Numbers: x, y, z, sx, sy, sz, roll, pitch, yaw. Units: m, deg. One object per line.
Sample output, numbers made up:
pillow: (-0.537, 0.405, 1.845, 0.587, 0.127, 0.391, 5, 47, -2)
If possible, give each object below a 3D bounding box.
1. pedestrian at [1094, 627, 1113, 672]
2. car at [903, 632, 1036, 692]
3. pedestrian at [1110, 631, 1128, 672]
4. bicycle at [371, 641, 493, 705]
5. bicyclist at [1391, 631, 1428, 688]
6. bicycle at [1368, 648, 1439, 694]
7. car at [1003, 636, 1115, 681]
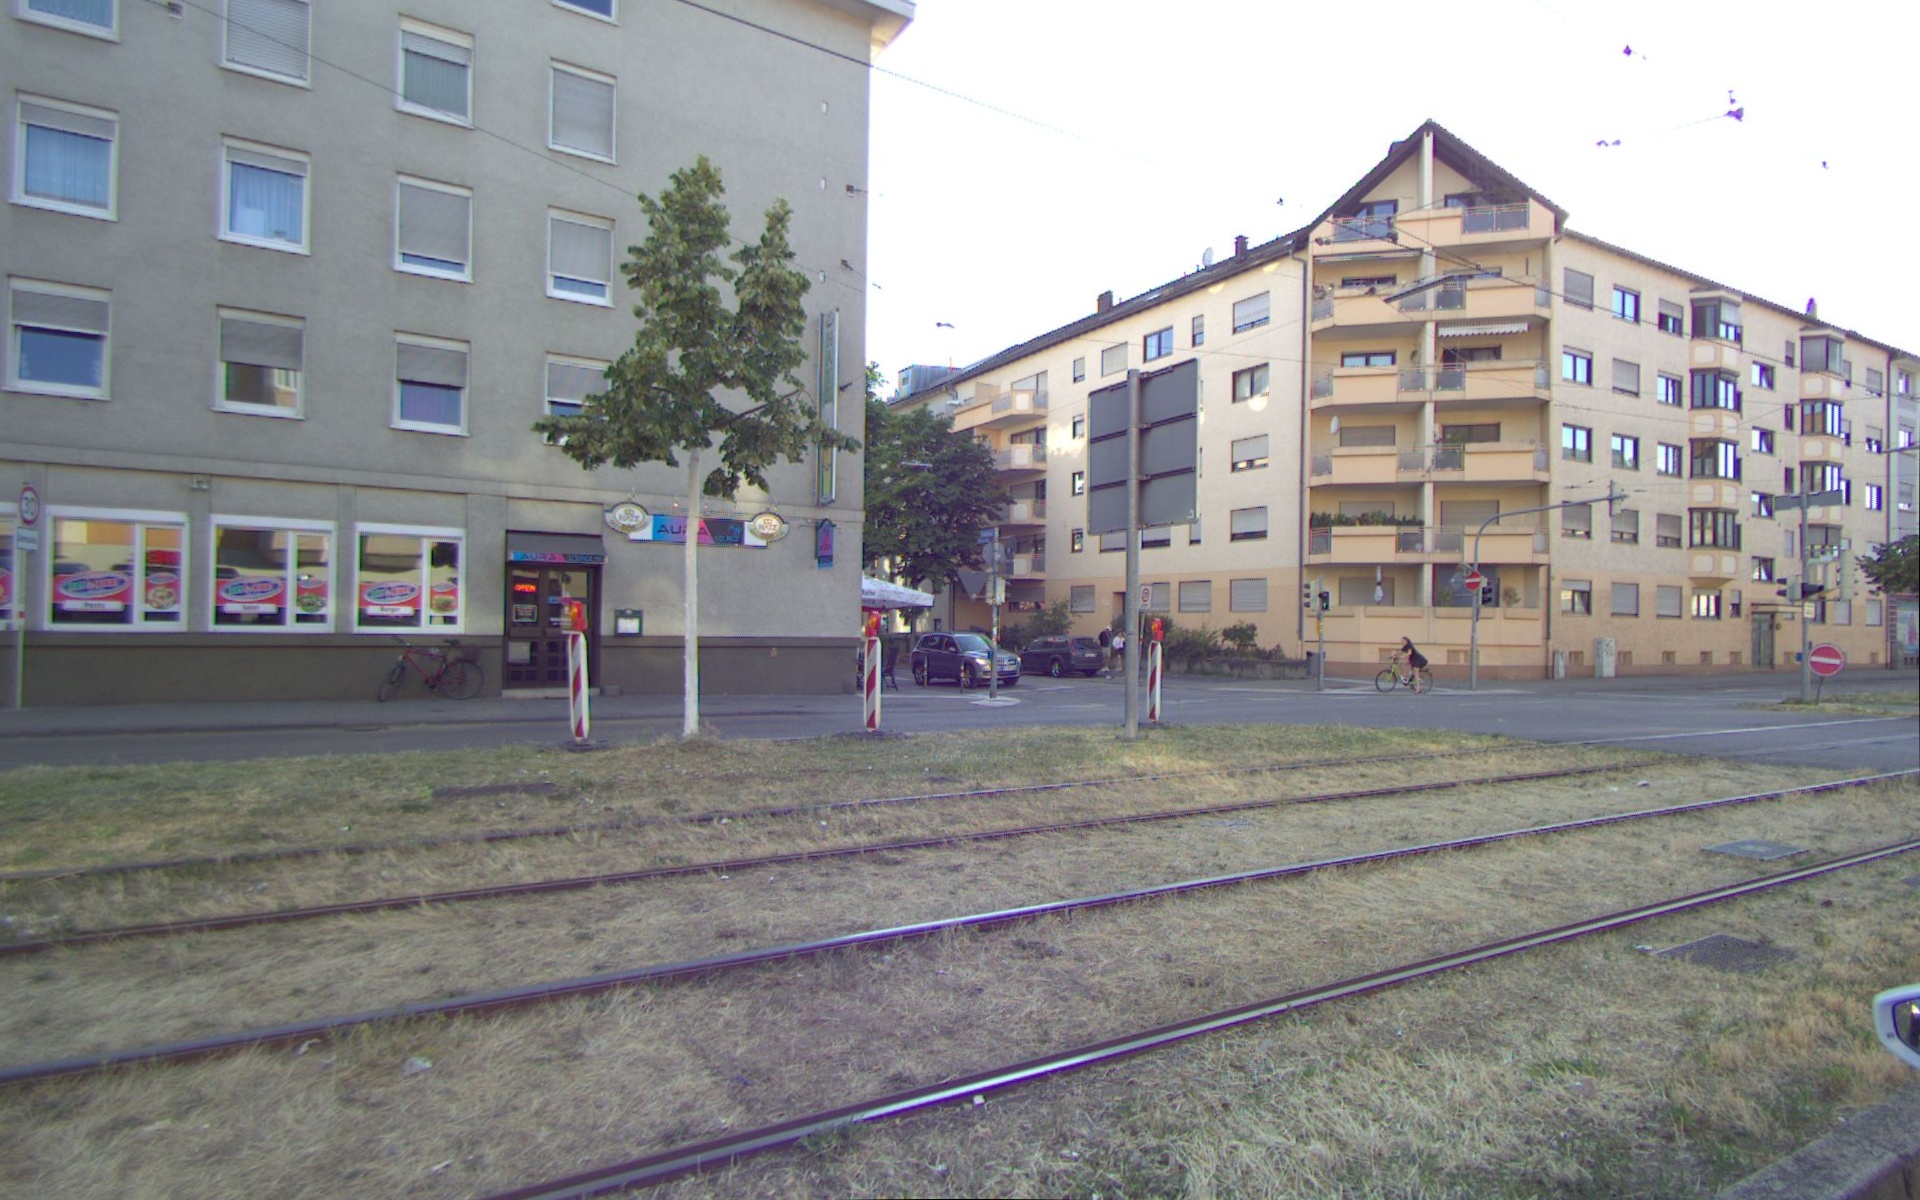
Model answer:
pedestrian: (5.592, 1.936, 39.224, 0.456, 1.727, 0.589, 2, 0, -24)
car: (0.233, 1.856, 31.110, 1.982, 1.645, 4.153, 1, -1, -38)
pedestrian: (6.237, 2.025, 39.417, 0.509, 1.573, 0.547, 0, 0, -24)
bicycle: (-9.147, 1.256, 17.432, 1.823, 1.037, 0.605, 2, -1, -31)
bicyclist: (12.972, 1.722, 29.026, 0.793, 1.607, 0.628, 1, 0, 4)
bicycle: (12.811, 2.041, 29.018, 1.833, 1.274, 0.457, 0, 0, 2)
car: (3.613, 2.116, 37.305, 1.982, 1.462, 3.957, 0, -1, -38)
